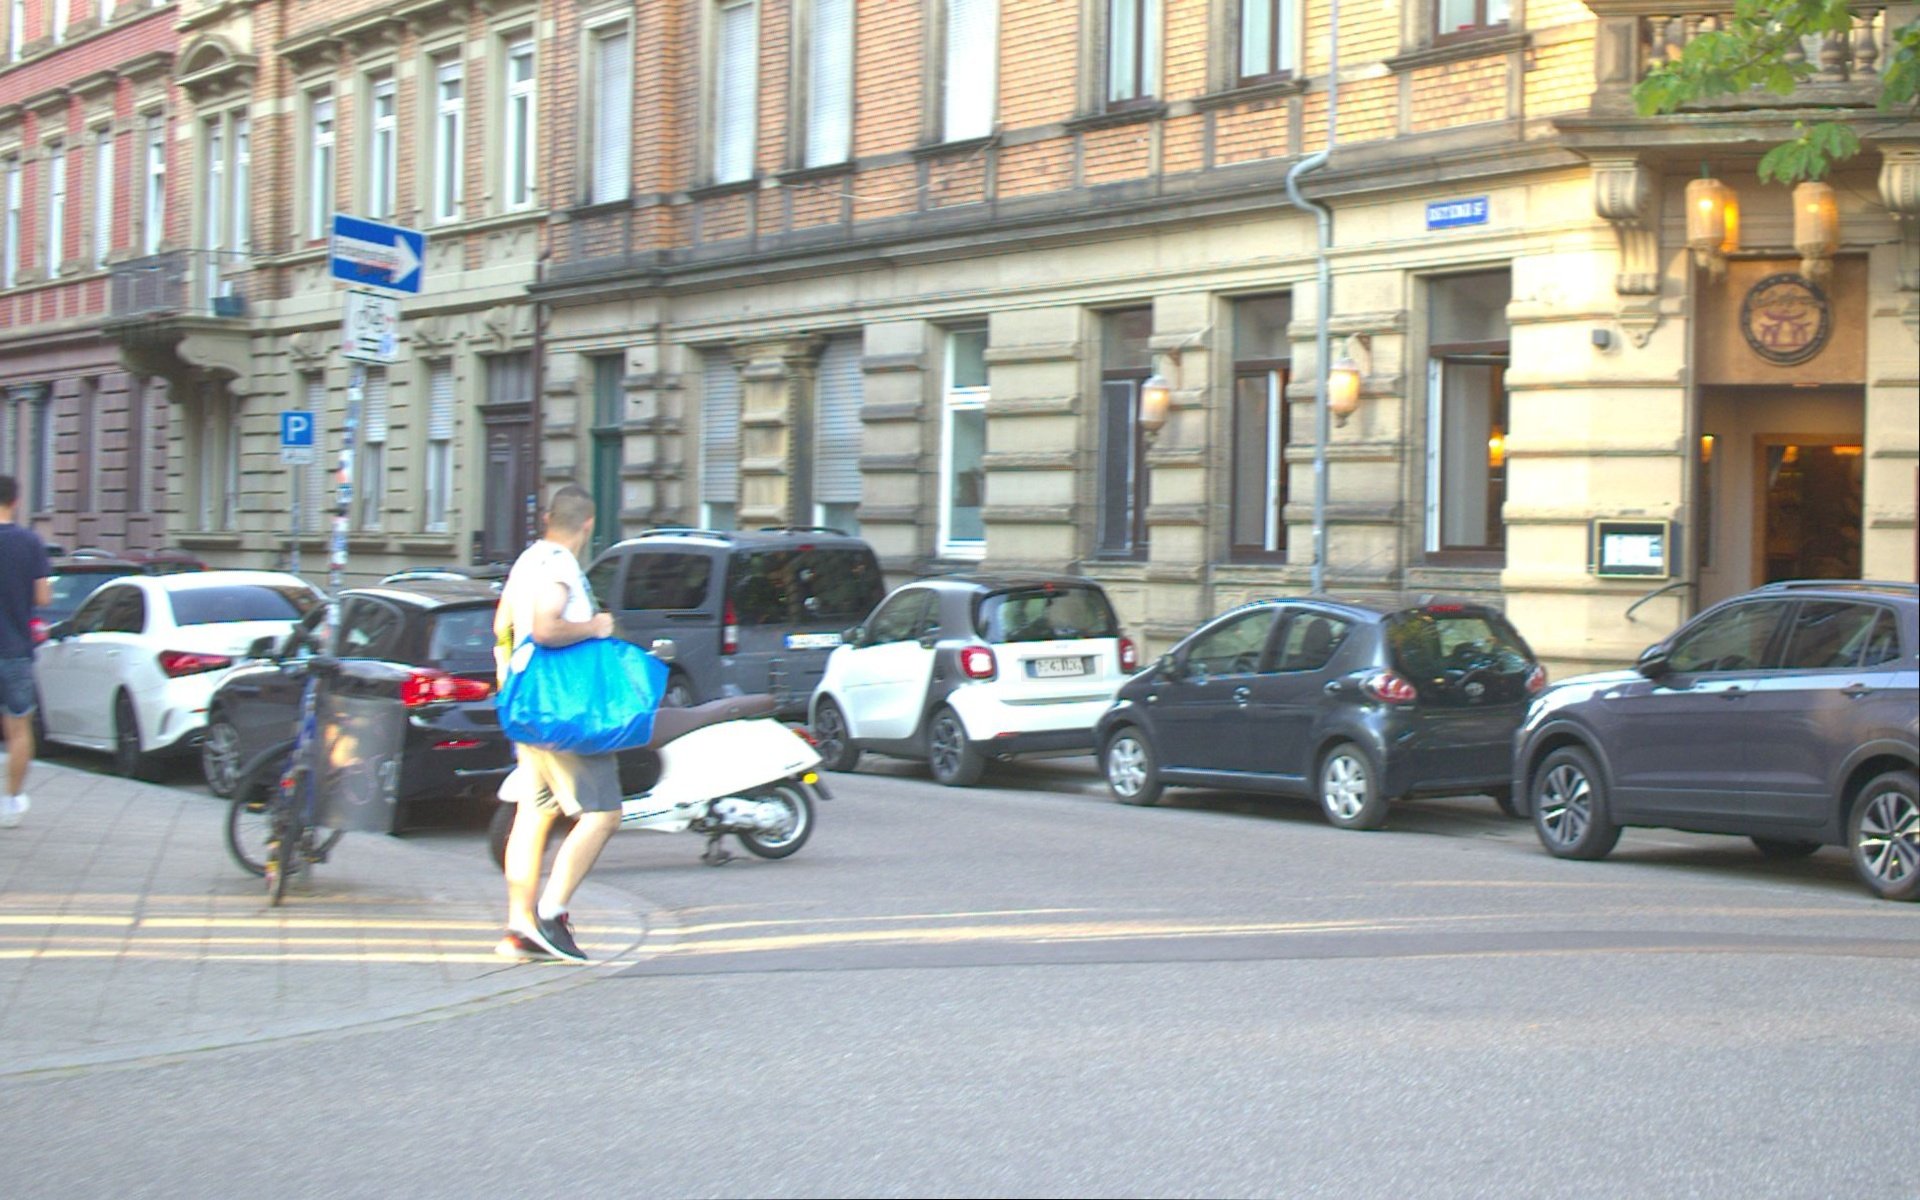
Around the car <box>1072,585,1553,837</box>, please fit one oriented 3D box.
[{"bbox_3d":[2.260,0.672,22.770,1.462,1.453,3.334,0,2,-30],"label":"car"}]

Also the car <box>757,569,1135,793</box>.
[{"bbox_3d":[-0.170,0.567,26.339,1.462,1.589,3.334,0,1,-29],"label":"car"}]

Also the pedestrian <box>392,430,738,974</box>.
[{"bbox_3d":[-1.533,0.382,13.301,1.006,2.007,0.869,2,0,-31],"label":"pedestrian"}]

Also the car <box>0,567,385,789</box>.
[{"bbox_3d":[-5.757,0.501,25.123,1.574,1.453,4.425,0,1,-30],"label":"car"}]

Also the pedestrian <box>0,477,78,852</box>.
[{"bbox_3d":[-4.880,0.290,17.197,0.685,1.817,0.793,5,1,-8],"label":"pedestrian"}]

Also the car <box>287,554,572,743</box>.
[{"bbox_3d":[-5.454,0.448,35.032,1.683,1.817,3.488,0,1,-31],"label":"car"}]

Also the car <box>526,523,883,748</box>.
[{"bbox_3d":[-2.261,0.266,29.679,1.683,1.817,3.488,0,1,-31],"label":"car"}]

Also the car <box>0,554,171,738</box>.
[{"bbox_3d":[-8.174,0.336,29.262,1.574,1.453,4.425,0,1,-30],"label":"car"}]

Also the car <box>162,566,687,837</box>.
[{"bbox_3d":[-3.346,0.538,20.863,1.781,1.453,4.019,0,1,-30],"label":"car"}]

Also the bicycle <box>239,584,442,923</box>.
[{"bbox_3d":[-2.745,0.642,15.384,0.516,1.387,1.800,3,1,0],"label":"bicycle"}]

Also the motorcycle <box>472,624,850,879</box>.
[{"bbox_3d":[-1.520,0.758,17.462,1.854,1.252,0.473,0,0,-13],"label":"motorcycle"}]

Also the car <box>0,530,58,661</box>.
[{"bbox_3d":[-14.223,-0.086,49.087,1.683,1.817,3.488,0,1,-31],"label":"car"}]

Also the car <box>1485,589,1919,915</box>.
[{"bbox_3d":[4.647,0.736,18.239,1.627,1.540,3.858,0,1,-30],"label":"car"}]

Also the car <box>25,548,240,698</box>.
[{"bbox_3d":[-10.534,0.262,43.633,1.683,1.817,3.488,0,1,-31],"label":"car"}]
